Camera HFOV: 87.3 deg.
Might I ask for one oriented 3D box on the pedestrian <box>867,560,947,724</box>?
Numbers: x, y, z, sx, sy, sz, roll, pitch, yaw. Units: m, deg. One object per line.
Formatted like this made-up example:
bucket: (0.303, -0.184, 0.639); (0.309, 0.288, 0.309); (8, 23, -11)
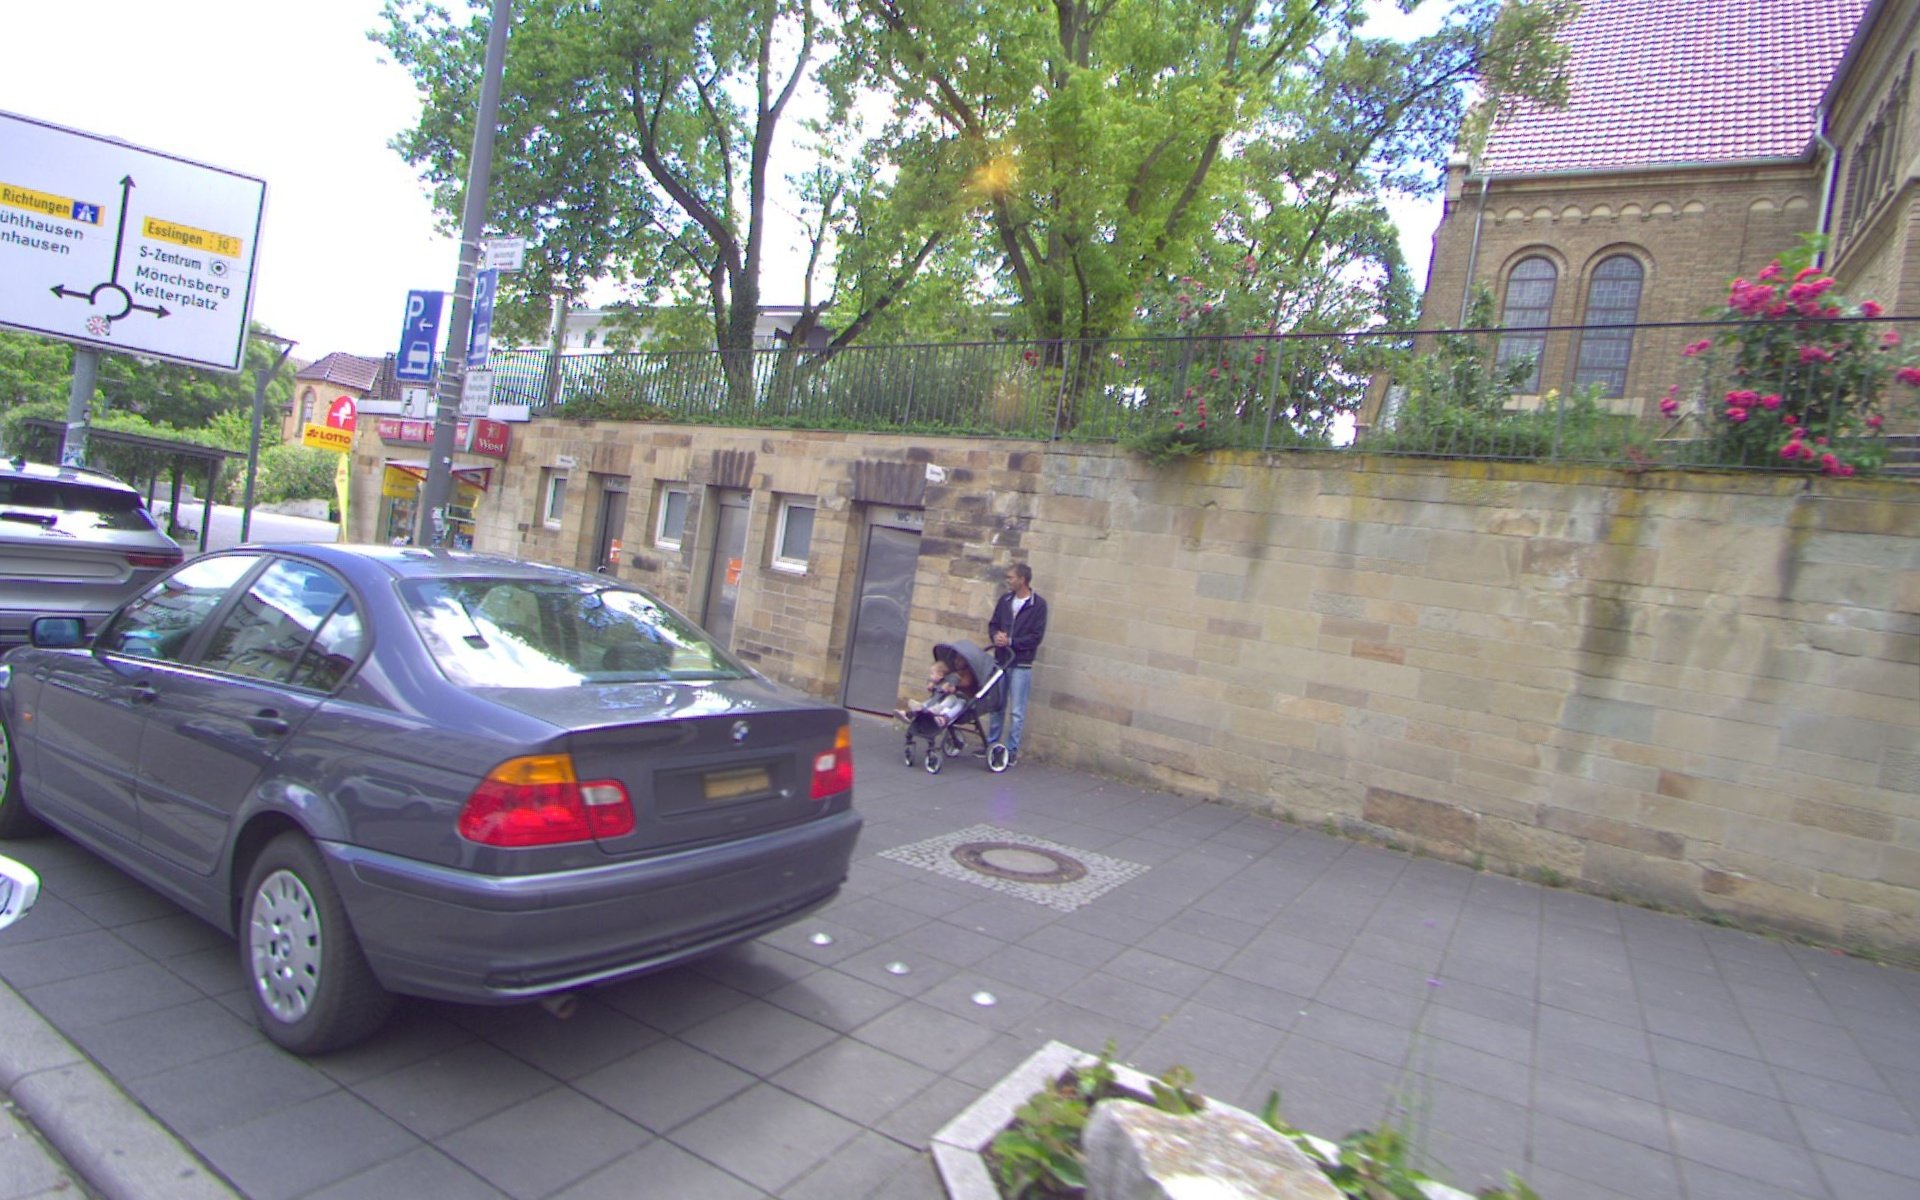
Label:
pedestrian: (-0.560, 0.445, 10.652); (0.500, 1.666, 0.472); (7, 1, 42)

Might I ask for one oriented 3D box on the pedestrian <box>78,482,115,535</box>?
pedestrian: (-22.665, -2.396, 26.398); (0.533, 1.278, 0.567); (11, 4, 40)

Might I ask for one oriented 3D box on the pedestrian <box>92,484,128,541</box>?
pedestrian: (-21.687, -2.232, 25.665); (0.566, 1.338, 0.494); (11, 4, 40)

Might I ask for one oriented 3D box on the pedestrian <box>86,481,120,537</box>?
pedestrian: (-22.170, -2.354, 26.015); (0.517, 1.338, 0.497); (11, 4, 41)

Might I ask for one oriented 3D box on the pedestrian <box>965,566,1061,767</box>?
pedestrian: (0.460, 0.571, 8.755); (0.500, 1.666, 0.472); (7, 1, 42)

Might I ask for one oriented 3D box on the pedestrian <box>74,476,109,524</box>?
pedestrian: (-25.746, -2.957, 29.832); (0.538, 1.324, 0.623); (9, 3, 40)

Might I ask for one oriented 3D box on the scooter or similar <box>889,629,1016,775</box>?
scooter or similar: (-0.055, 0.830, 8.300); (0.553, 1.086, 0.810); (6, 1, 42)

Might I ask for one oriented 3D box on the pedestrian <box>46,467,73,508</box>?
pedestrian: (-31.444, -3.921, 35.118); (0.566, 1.340, 0.538); (7, 1, -44)

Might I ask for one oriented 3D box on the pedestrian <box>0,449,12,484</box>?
pedestrian: (-43.176, -6.019, 45.268); (0.446, 1.527, 0.503); (9, 2, 29)

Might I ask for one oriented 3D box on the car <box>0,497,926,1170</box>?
car: (-2.433, 0.457, 4.126); (4.301, 1.434, 1.682); (5, -1, 33)

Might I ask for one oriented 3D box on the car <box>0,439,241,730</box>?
car: (-7.539, -0.301, 7.431); (4.497, 1.746, 1.931); (7, 0, 32)

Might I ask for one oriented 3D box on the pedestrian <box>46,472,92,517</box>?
pedestrian: (-28.601, -3.375, 32.304); (0.758, 1.284, 0.675); (8, 1, -11)

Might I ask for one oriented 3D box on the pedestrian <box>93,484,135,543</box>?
pedestrian: (-21.170, -2.155, 25.180); (0.577, 1.338, 0.615); (11, 4, 39)
